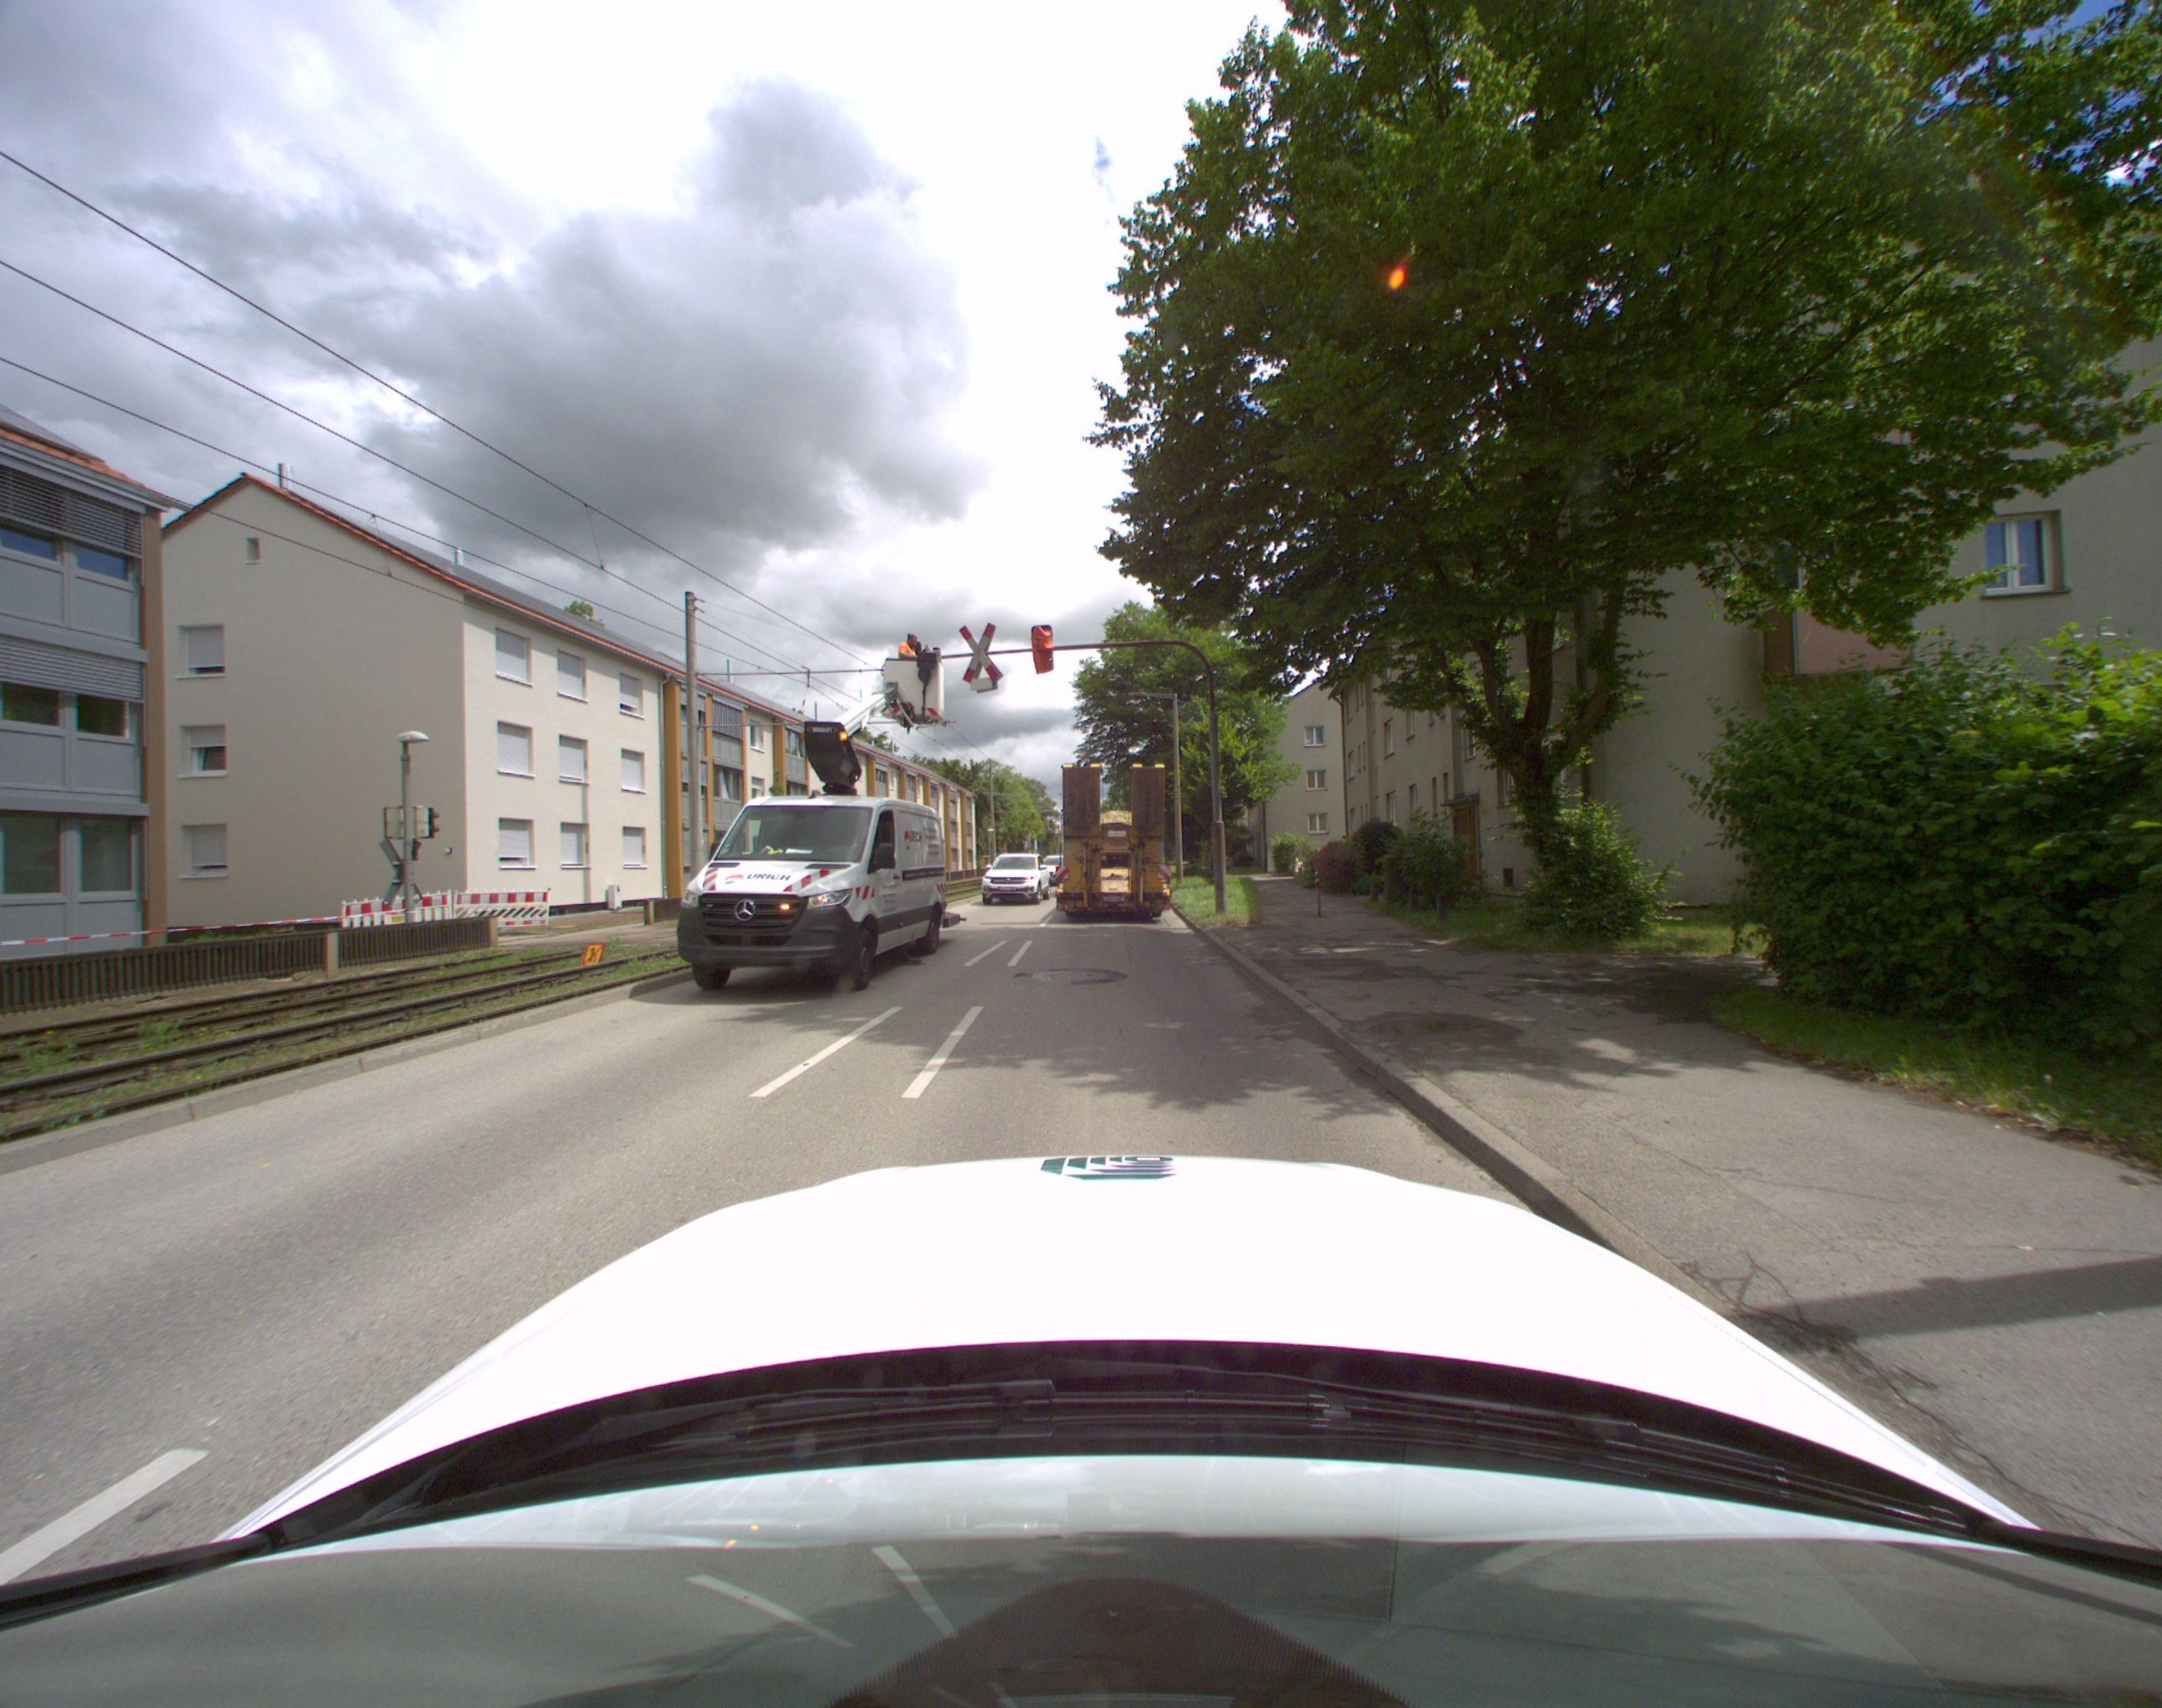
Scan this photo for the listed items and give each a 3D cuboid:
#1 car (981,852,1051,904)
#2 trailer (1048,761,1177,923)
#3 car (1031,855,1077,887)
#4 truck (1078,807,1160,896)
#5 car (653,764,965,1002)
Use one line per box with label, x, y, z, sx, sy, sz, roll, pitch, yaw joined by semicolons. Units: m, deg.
car;-1.994;0.717;26.103;1.711;1.552;3.920;0;0;3
trailer;1.000;-0.268;23.291;2.811;3.524;11.061;0;0;3
car;-1.261;0.797;40.496;1.871;1.481;4.533;0;0;3
truck;1.523;-0.097;32.628;2.905;3.167;7.685;0;0;2
car;-3.255;0.298;11.528;1.985;2.430;6.326;-1;0;3
